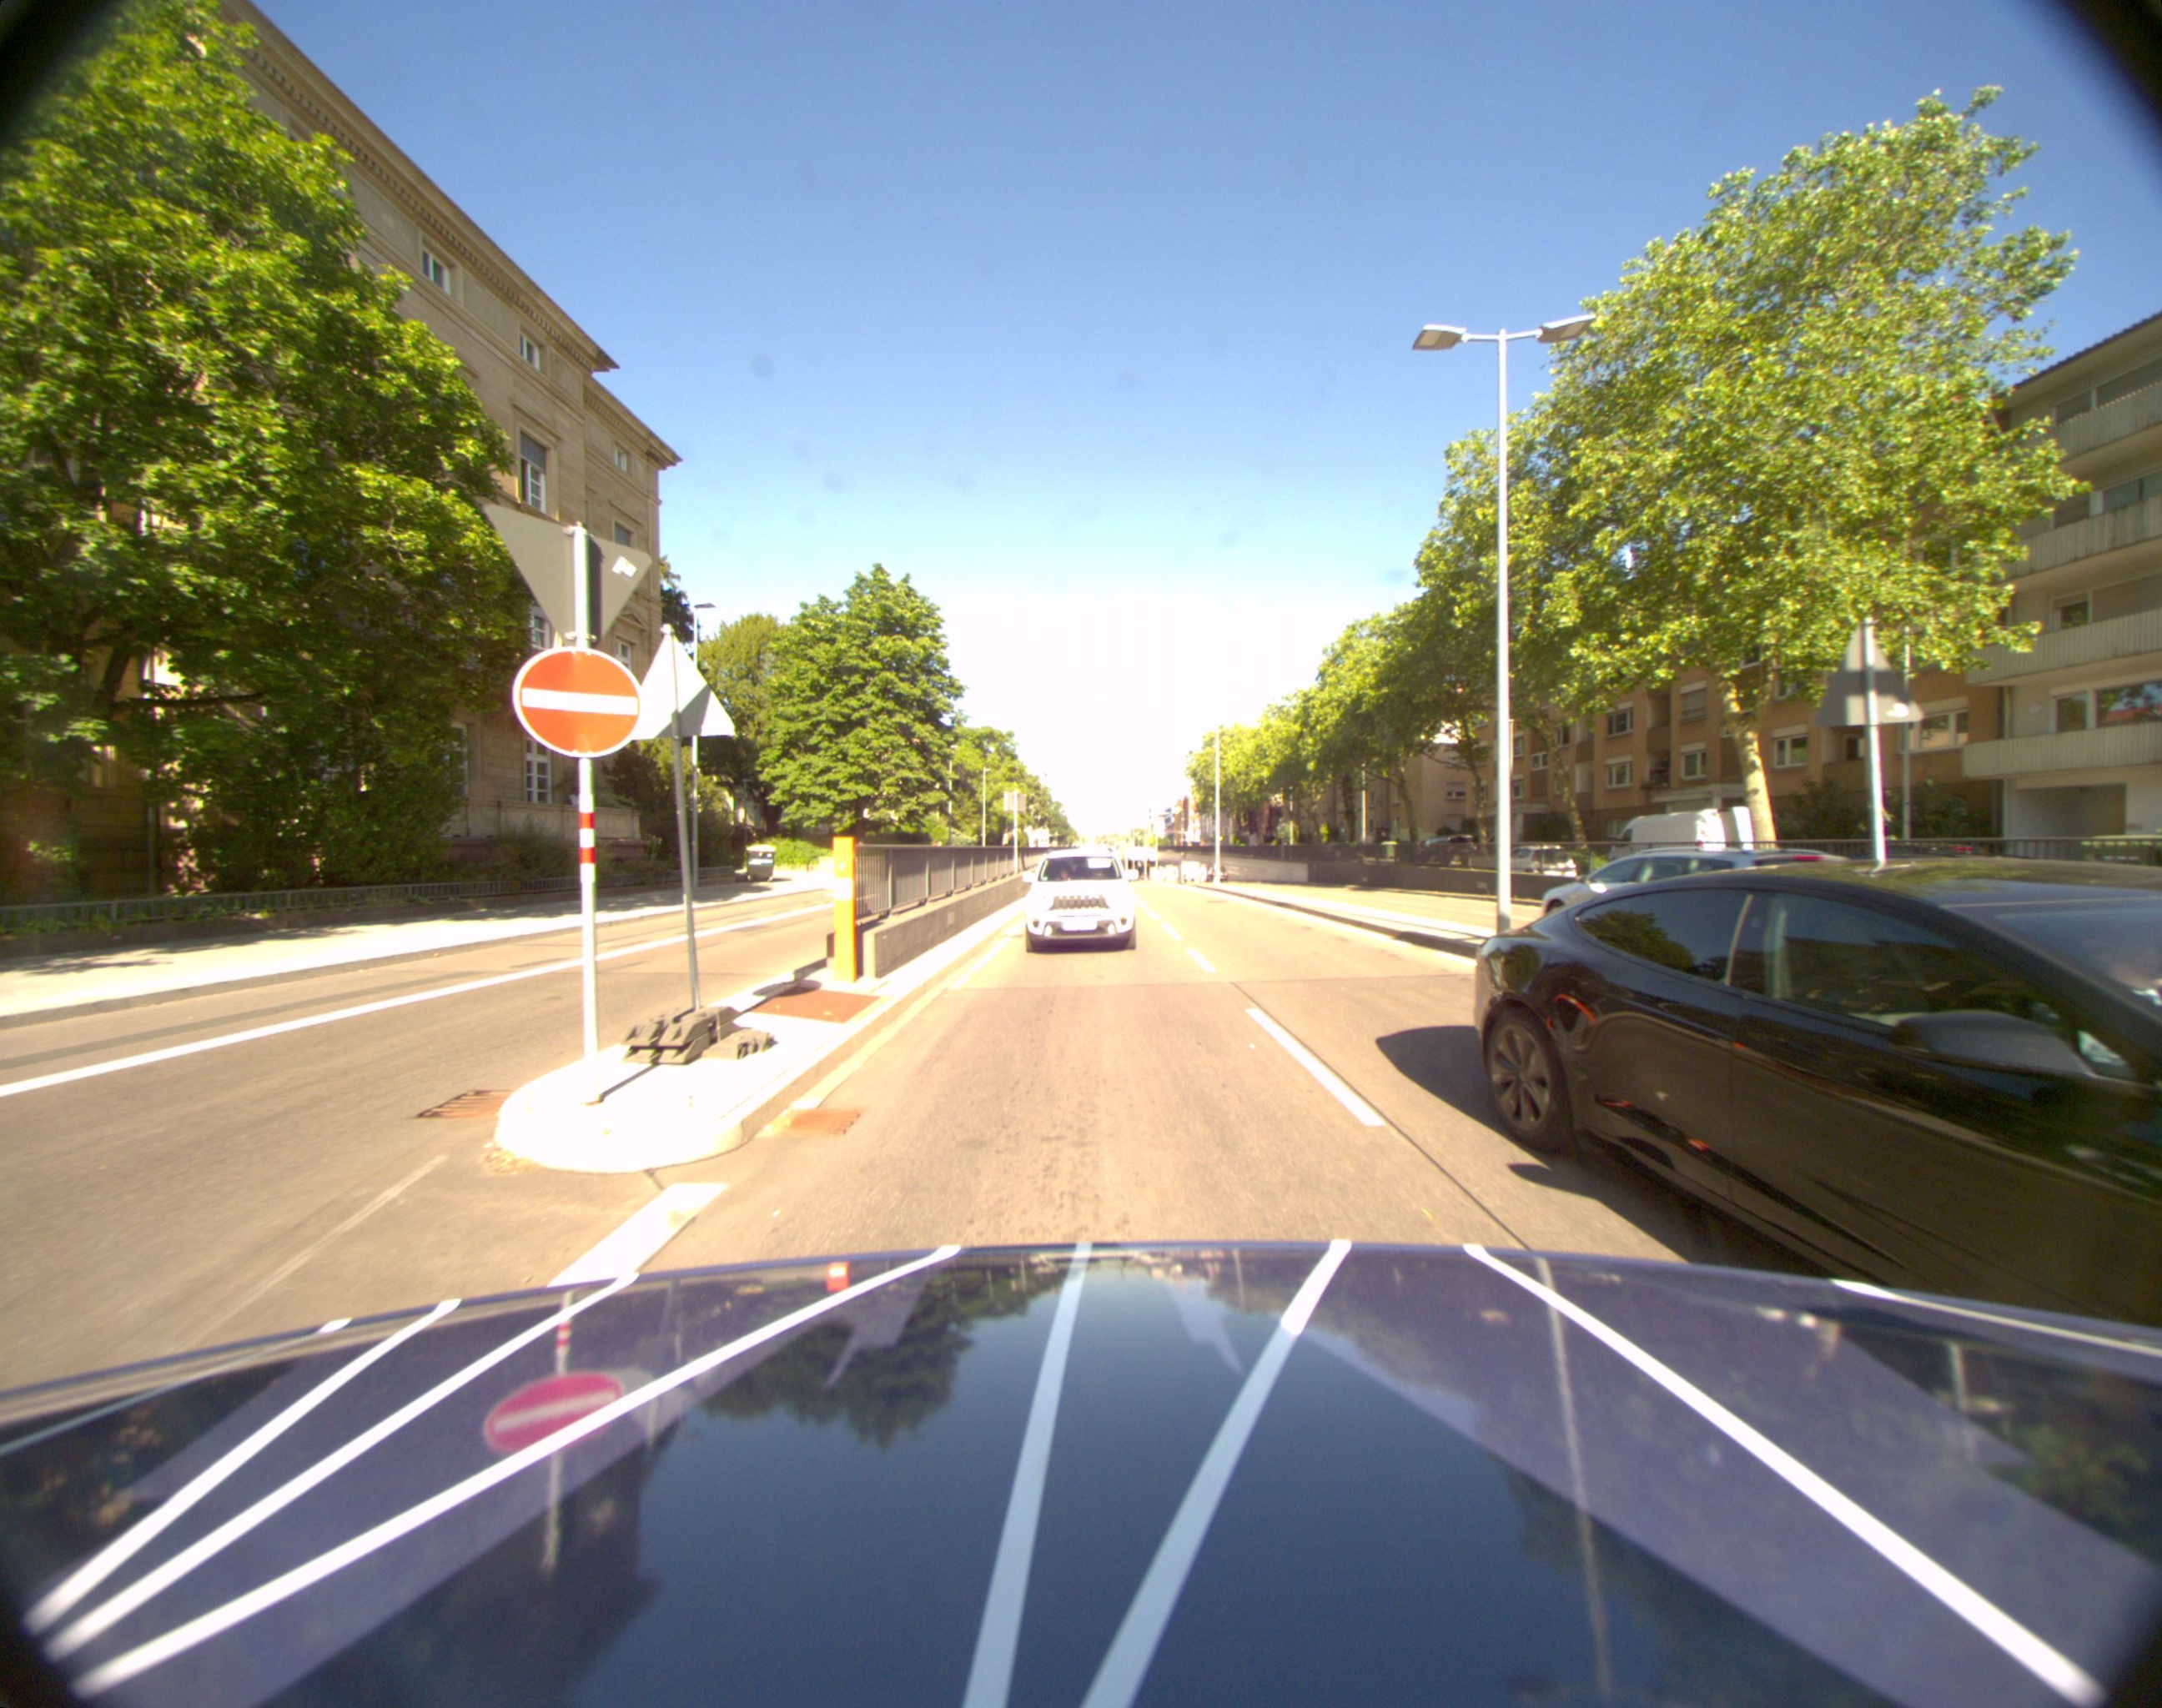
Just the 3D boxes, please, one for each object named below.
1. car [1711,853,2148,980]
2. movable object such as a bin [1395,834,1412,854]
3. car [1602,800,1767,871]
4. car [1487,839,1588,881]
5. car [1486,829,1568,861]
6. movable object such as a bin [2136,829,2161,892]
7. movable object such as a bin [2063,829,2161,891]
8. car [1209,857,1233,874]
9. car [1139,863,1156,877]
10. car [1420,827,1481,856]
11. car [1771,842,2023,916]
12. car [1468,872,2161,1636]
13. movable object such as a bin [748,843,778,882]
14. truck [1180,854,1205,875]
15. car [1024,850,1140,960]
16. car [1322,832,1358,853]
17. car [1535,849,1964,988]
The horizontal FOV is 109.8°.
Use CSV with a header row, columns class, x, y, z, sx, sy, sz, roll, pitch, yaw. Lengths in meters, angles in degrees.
class,x,y,z,sx,sy,sz,roll,pitch,yaw
car,11.838,0.733,11.162,1.611,1.433,4.310,2,1,1
movable object such as a bin,27.206,-0.822,64.124,0.885,1.632,1.253,1,0,1
car,22.910,-0.636,29.193,2.250,2.431,5.288,1,0,2
car,18.010,0.221,30.184,1.632,1.478,3.688,-3,1,-3
car,23.212,-0.438,39.706,1.998,1.571,4.001,1,0,2
movable object such as a bin,23.597,0.136,15.929,0.895,1.352,1.474,1,0,3
movable object such as a bin,23.700,0.129,17.320,0.895,1.354,1.314,1,0,1
car,13.152,1.087,71.414,1.662,1.465,3.297,-1,1,1
car,10.701,2.523,122.882,2.449,2.073,5.639,-1,1,3
car,23.316,-0.736,48.089,1.998,1.742,4.001,-1,0,2
car,17.877,0.504,16.931,1.632,1.429,3.690,-2,0,1
car,3.137,0.854,1.950,1.930,1.404,4.625,-1,1,0
movable object such as a bin,-11.684,0.294,27.964,0.975,1.390,1.285,1,0,-21
truck,13.326,1.226,91.240,2.285,2.380,5.368,1,0,2
car,0.048,0.797,13.517,1.744,1.648,3.690,-1,0,1
car,23.831,-1.007,70.154,1.998,1.839,4.000,1,0,1
car,8.808,0.746,10.750,1.998,1.444,4.618,3,-1,1
